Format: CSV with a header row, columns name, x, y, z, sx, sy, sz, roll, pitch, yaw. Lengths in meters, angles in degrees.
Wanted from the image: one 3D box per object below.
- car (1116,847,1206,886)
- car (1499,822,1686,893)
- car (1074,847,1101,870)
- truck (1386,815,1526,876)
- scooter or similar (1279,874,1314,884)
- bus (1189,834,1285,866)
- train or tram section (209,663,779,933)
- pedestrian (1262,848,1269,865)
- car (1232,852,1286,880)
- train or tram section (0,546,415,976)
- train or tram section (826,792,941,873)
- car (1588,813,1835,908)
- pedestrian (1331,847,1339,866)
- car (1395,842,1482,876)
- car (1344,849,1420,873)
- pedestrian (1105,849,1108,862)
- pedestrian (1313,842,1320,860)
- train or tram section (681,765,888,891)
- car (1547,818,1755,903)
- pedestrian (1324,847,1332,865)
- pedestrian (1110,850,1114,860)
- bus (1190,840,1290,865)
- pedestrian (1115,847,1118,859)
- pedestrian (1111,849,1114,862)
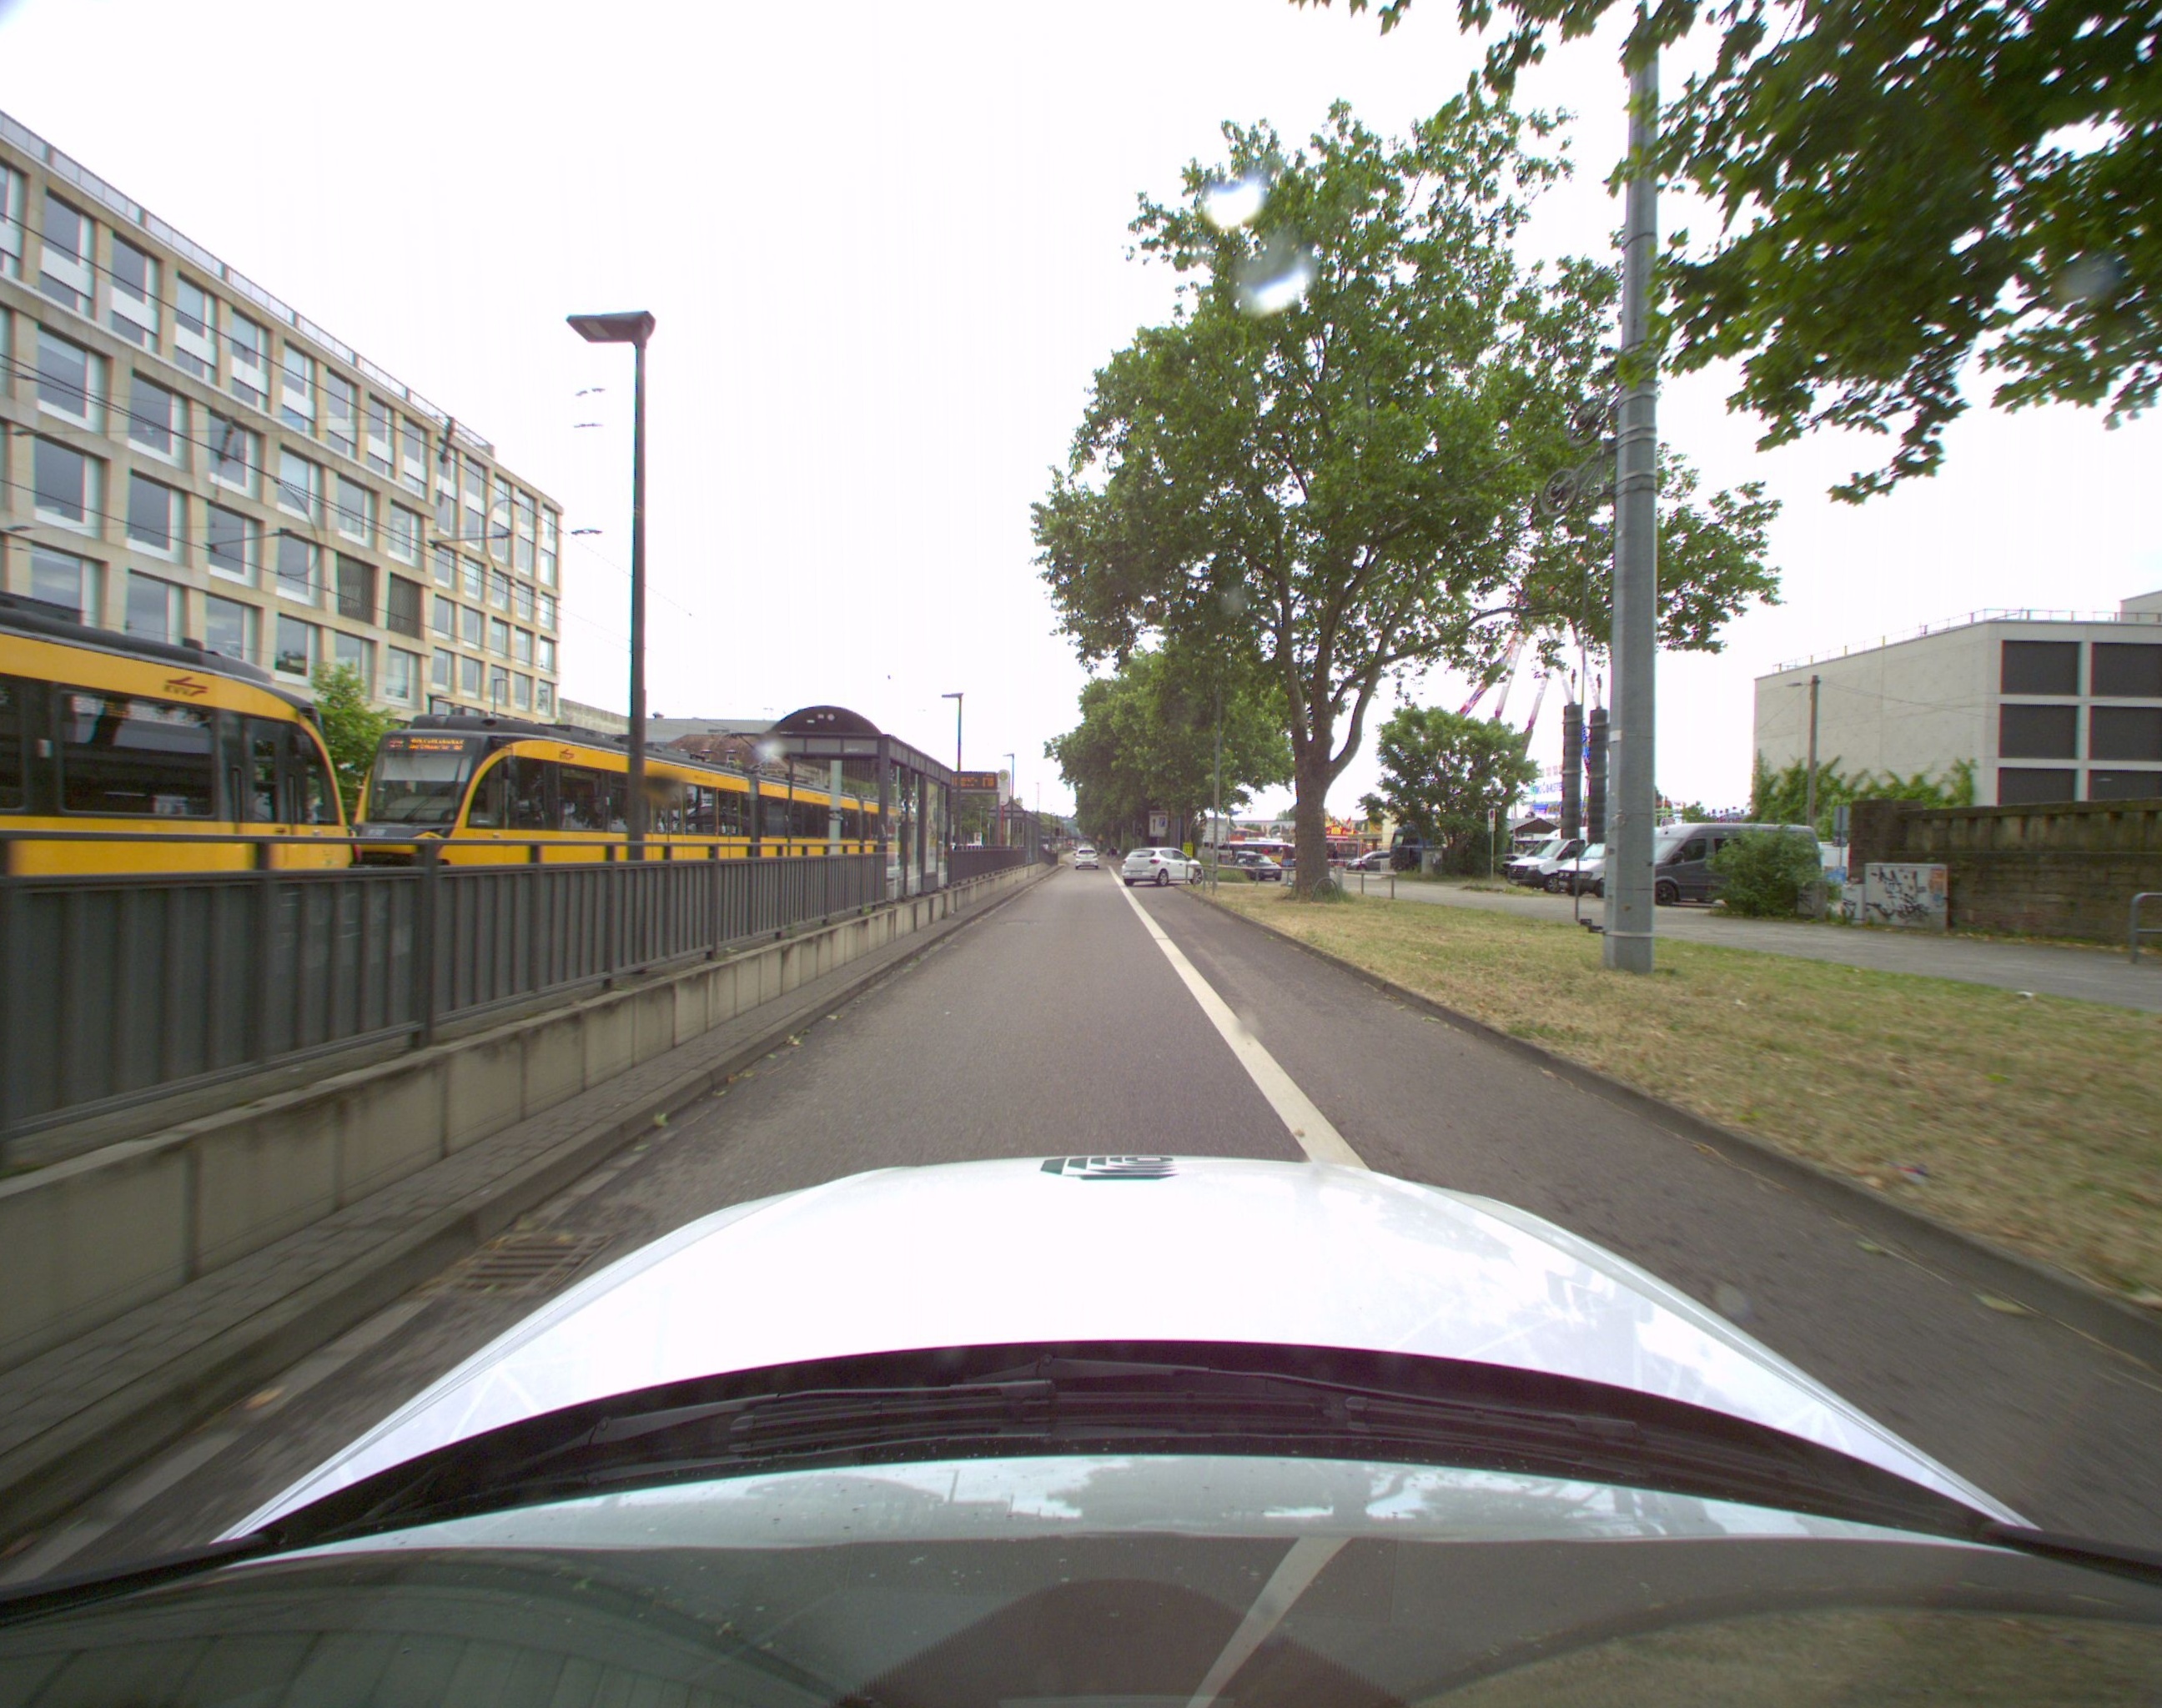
name,x,y,z,sx,sy,sz,roll,pitch,yaw
car,3.293,0.483,32.945,1.867,1.453,4.025,1,0,36
car,19.761,0.134,31.644,6.006,2.555,2.099,1,0,-2
car,0.474,0.284,57.867,1.834,1.552,4.002,0,0,2
truck,24.808,-0.561,54.108,8.167,3.822,2.599,1,0,-1
scooter or similar,8.770,1.025,33.065,1.166,0.349,1.339,-1,0,25
bus,15.557,-0.404,81.349,9.254,2.960,1.998,1,0,-3
train or tram section,-11.926,-0.878,20.119,3.169,4.179,14.735,1,0,1
pedestrian,16.305,0.202,71.936,0.491,1.463,0.523,1,0,-2
car,9.733,0.638,44.817,1.859,1.430,3.995,1,0,-4
train or tram section,-12.124,-0.925,5.913,3.169,4.179,13.621,1,0,1
train or tram section,-11.499,-1.103,49.577,3.169,4.179,14.735,1,0,1
car,19.247,0.163,25.104,5.762,2.522,2.172,3,1,2
pedestrian,23.223,0.211,74.402,0.523,1.687,0.491,1,0,-16
car,22.154,0.273,50.610,4.560,2.013,1.999,0,1,-2
car,21.096,0.488,57.181,4.560,1.575,1.999,1,0,-1
pedestrian,3.915,0.177,124.851,0.393,2.013,0.404,1,0,16
pedestrian,22.286,-0.261,77.200,0.491,1.687,0.523,1,0,-2
train or tram section,-11.738,-0.876,34.806,3.169,4.179,14.735,1,0,1
car,19.700,0.217,28.305,5.767,2.535,2.039,3,0,-1
pedestrian,22.479,0.193,74.009,0.523,1.687,0.491,1,0,-16
pedestrian,4.162,0.130,109.191,0.394,1.444,0.563,1,0,3
bus,15.227,-0.126,78.243,9.254,2.227,1.998,1,0,-3
pedestrian,4.807,-0.075,109.177,0.394,1.585,0.538,1,0,1
pedestrian,4.793,0.182,124.585,0.393,2.013,0.404,1,0,16
